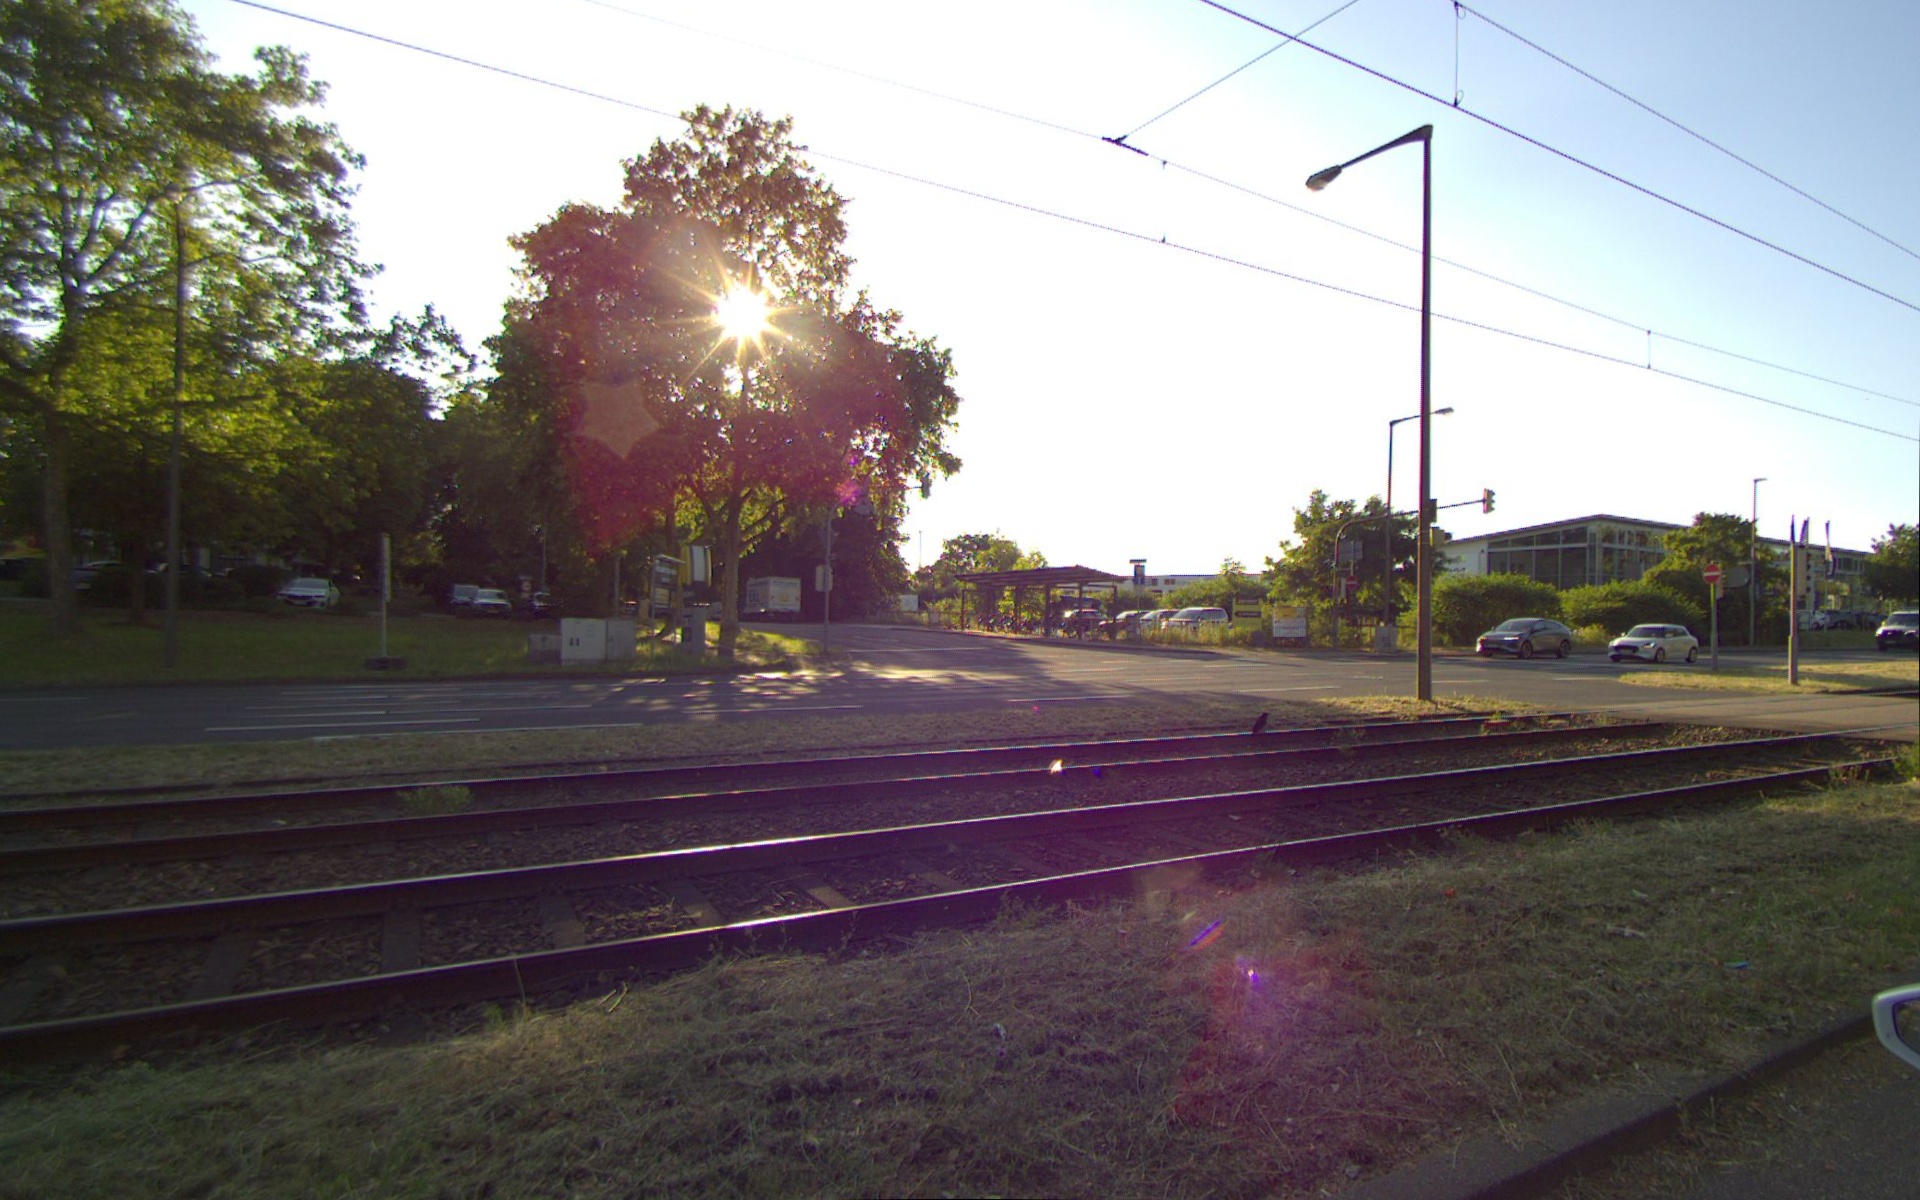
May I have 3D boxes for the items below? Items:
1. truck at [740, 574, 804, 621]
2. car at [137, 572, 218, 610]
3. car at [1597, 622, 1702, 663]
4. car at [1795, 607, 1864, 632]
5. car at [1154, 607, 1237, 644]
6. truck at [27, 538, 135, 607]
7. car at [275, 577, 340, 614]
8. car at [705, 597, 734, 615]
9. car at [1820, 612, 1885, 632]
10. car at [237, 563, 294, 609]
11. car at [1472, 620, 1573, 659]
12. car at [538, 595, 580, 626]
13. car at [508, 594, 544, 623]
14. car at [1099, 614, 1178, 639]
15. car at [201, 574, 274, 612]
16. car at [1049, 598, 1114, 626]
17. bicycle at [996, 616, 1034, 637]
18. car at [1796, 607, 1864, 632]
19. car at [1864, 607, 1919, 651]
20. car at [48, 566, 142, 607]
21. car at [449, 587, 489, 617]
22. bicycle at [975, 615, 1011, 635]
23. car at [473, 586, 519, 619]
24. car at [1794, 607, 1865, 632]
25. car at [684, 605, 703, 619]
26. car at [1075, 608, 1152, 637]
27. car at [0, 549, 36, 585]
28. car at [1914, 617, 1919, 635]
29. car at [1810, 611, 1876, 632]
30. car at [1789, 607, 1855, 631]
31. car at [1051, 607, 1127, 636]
[{"bbox_3d":[-15.044,-0.230,79.793,2.782,3.520,8.291,1,0,-27],"label":"truck"},{"bbox_3d":[-33.954,-0.392,43.688,1.916,1.530,4.071,2,0,-26],"label":"car"},{"bbox_3d":[27.491,1.652,40.045,4.042,1.501,1.854,1,0,-29],"label":"car"},{"bbox_3d":[66.729,1.487,77.172,3.940,1.727,1.735,1,0,40],"label":"car"},{"bbox_3d":[12.364,1.323,52.739,4.123,1.846,1.853,1,0,-30],"label":"car"},{"bbox_3d":[-44.511,-1.339,51.069,2.468,3.209,6.187,2,0,-26],"label":"truck"},{"bbox_3d":[-29.430,-0.218,45.442,1.916,1.530,4.071,2,0,-26],"label":"car"},{"bbox_3d":[-22.781,0.559,95.000,1.711,1.603,4.028,1,0,-27],"label":"car"},{"bbox_3d":[74.212,1.837,83.613,3.940,1.577,1.735,1,0,40],"label":"car"},{"bbox_3d":[-37.295,-0.749,54.011,2.138,2.334,4.369,2,0,-31],"label":"car"},{"bbox_3d":[23.882,1.647,42.646,4.120,1.501,1.854,1,0,-29],"label":"car"},{"bbox_3d":[-20.437,0.523,51.141,1.604,1.477,3.878,2,0,-27],"label":"car"},{"bbox_3d":[-26.209,0.504,60.691,1.836,1.637,4.036,2,0,-23],"label":"car"},{"bbox_3d":[9.942,1.483,55.871,4.123,1.284,1.853,1,0,-30],"label":"car"},{"bbox_3d":[-32.112,-0.318,44.760,1.916,1.530,4.071,2,0,-26],"label":"car"},{"bbox_3d":[9.290,0.931,76.667,4.715,2.041,1.853,1,0,-30],"label":"car"},{"bbox_3d":[3.072,1.472,56.416,2.004,1.119,0.777,2,0,-30],"label":"bicycle"},{"bbox_3d":[68.366,1.485,78.984,3.940,1.840,1.735,1,0,40],"label":"car"},{"bbox_3d":[56.838,1.735,59.720,5.763,2.494,2.092,1,0,-20],"label":"car"},{"bbox_3d":[-36.086,-0.553,42.024,1.916,1.530,4.071,2,0,-26],"label":"car"},{"bbox_3d":[-28.570,0.127,58.498,1.836,1.637,4.036,2,0,-23],"label":"car"},{"bbox_3d":[1.930,1.449,59.052,2.004,1.119,0.777,2,0,-30],"label":"bicycle"},{"bbox_3d":[-22.933,0.111,49.592,1.916,1.530,4.071,2,0,-26],"label":"car"},{"bbox_3d":[65.182,1.437,75.373,3.940,1.727,1.735,1,0,40],"label":"car"},{"bbox_3d":[-33.306,1.505,125.448,1.887,1.602,4.036,2,0,-21],"label":"car"},{"bbox_3d":[8.823,1.280,57.802,4.123,1.604,1.853,1,0,-30],"label":"car"},{"bbox_3d":[-53.857,-1.880,56.386,2.274,1.875,5.220,2,0,-36],"label":"car"},{"bbox_3d":[91.301,2.496,93.023,1.725,1.642,3.962,1,0,-34],"label":"car"},{"bbox_3d":[71.992,1.742,81.945,3.940,1.577,1.735,1,0,40],"label":"car"},{"bbox_3d":[69.328,1.503,80.829,3.940,1.840,1.735,1,0,40],"label":"car"},{"bbox_3d":[7.719,1.287,59.997,4.123,1.604,1.968,1,0,-30],"label":"car"}]
